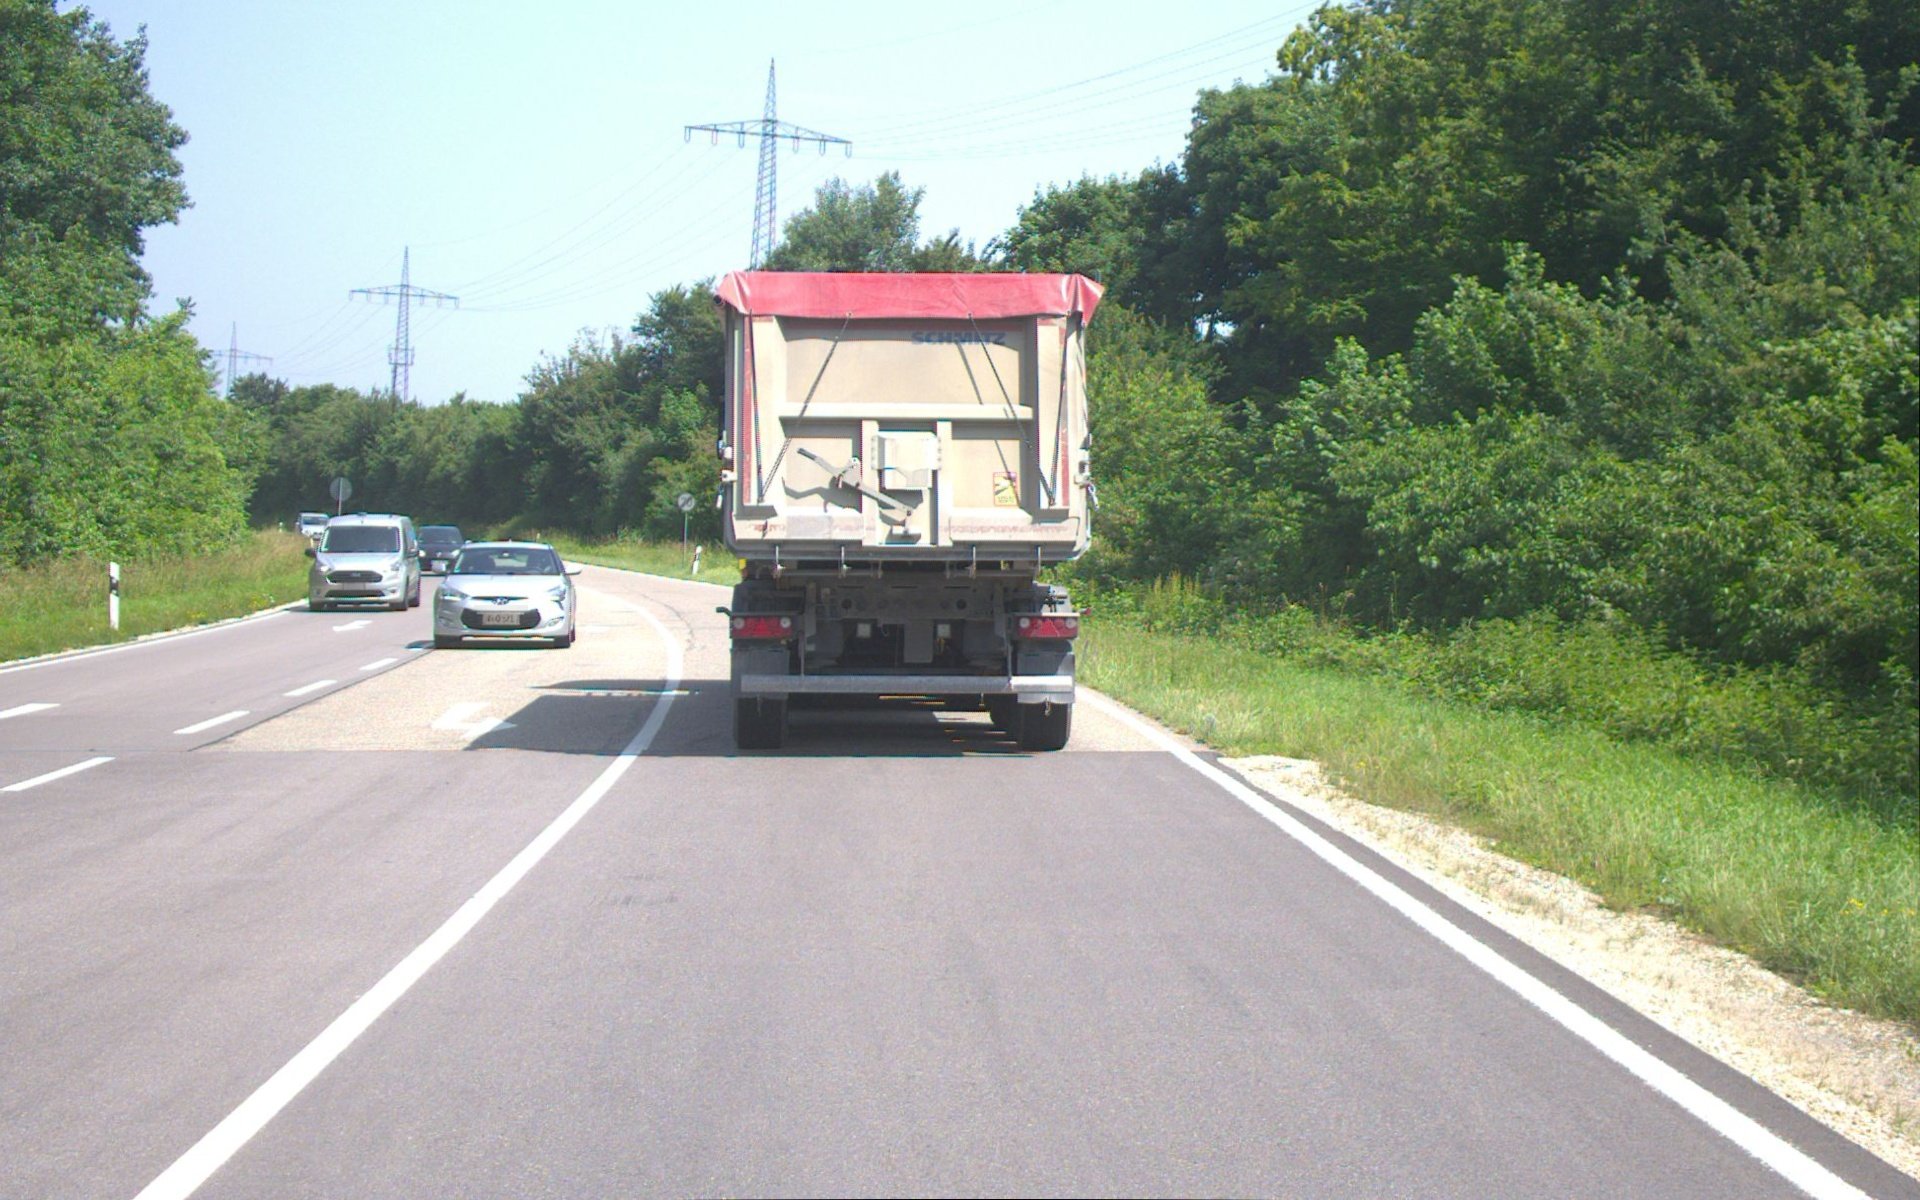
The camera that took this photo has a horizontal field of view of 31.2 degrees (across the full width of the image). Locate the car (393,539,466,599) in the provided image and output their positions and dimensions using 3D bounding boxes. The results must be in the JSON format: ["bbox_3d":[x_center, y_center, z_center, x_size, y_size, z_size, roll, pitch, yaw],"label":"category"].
[{"bbox_3d":[-16.175,-0.923,104.965,1.842,1.773,4.894,1,0,-5],"label":"car"}]

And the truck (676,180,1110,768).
[{"bbox_3d":[-0.677,-1.004,29.259,2.893,3.949,11.934,1,1,-2],"label":"truck"}]

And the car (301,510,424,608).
[{"bbox_3d":[-11.243,-0.741,64.974,1.842,1.773,4.894,1,0,-5],"label":"car"}]

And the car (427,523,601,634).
[{"bbox_3d":[-5.968,-0.290,46.352,1.708,1.414,4.098,1,0,1],"label":"car"}]
